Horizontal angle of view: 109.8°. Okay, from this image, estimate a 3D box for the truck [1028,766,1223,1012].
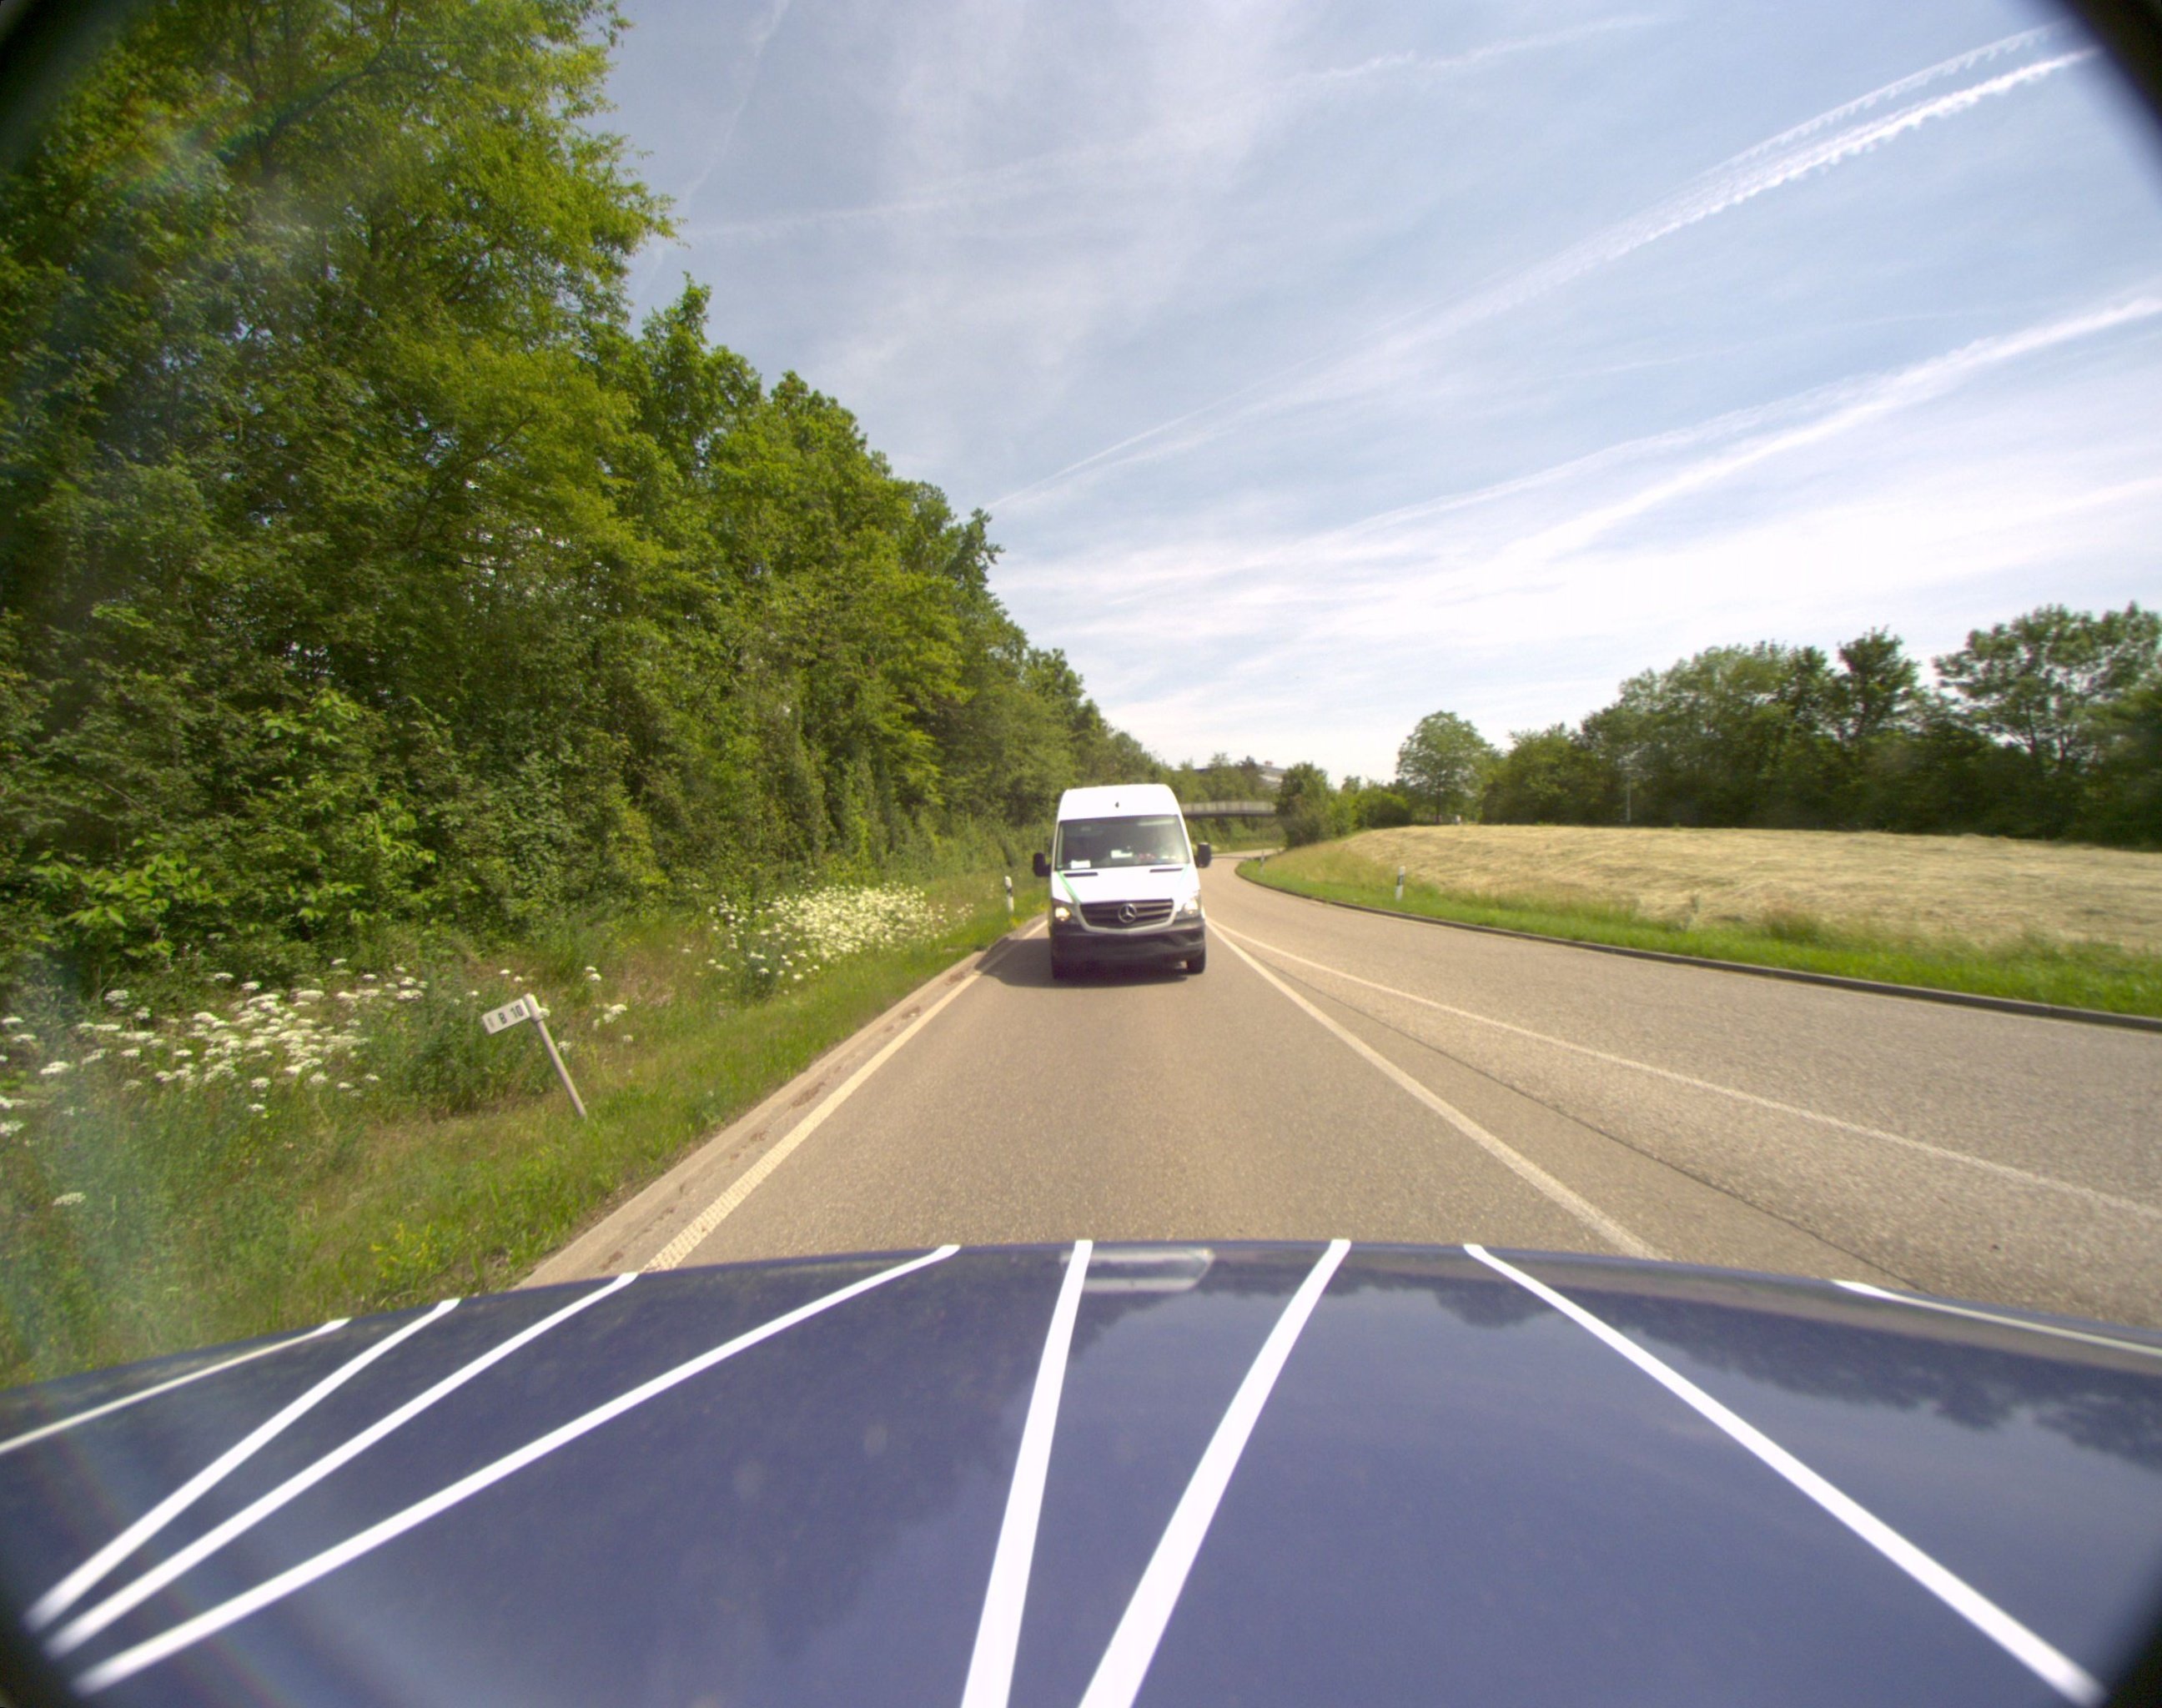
[{"bbox_3d":[0.559,0.401,11.114,1.998,2.571,5.888,-2,0,2],"label":"truck"}]
